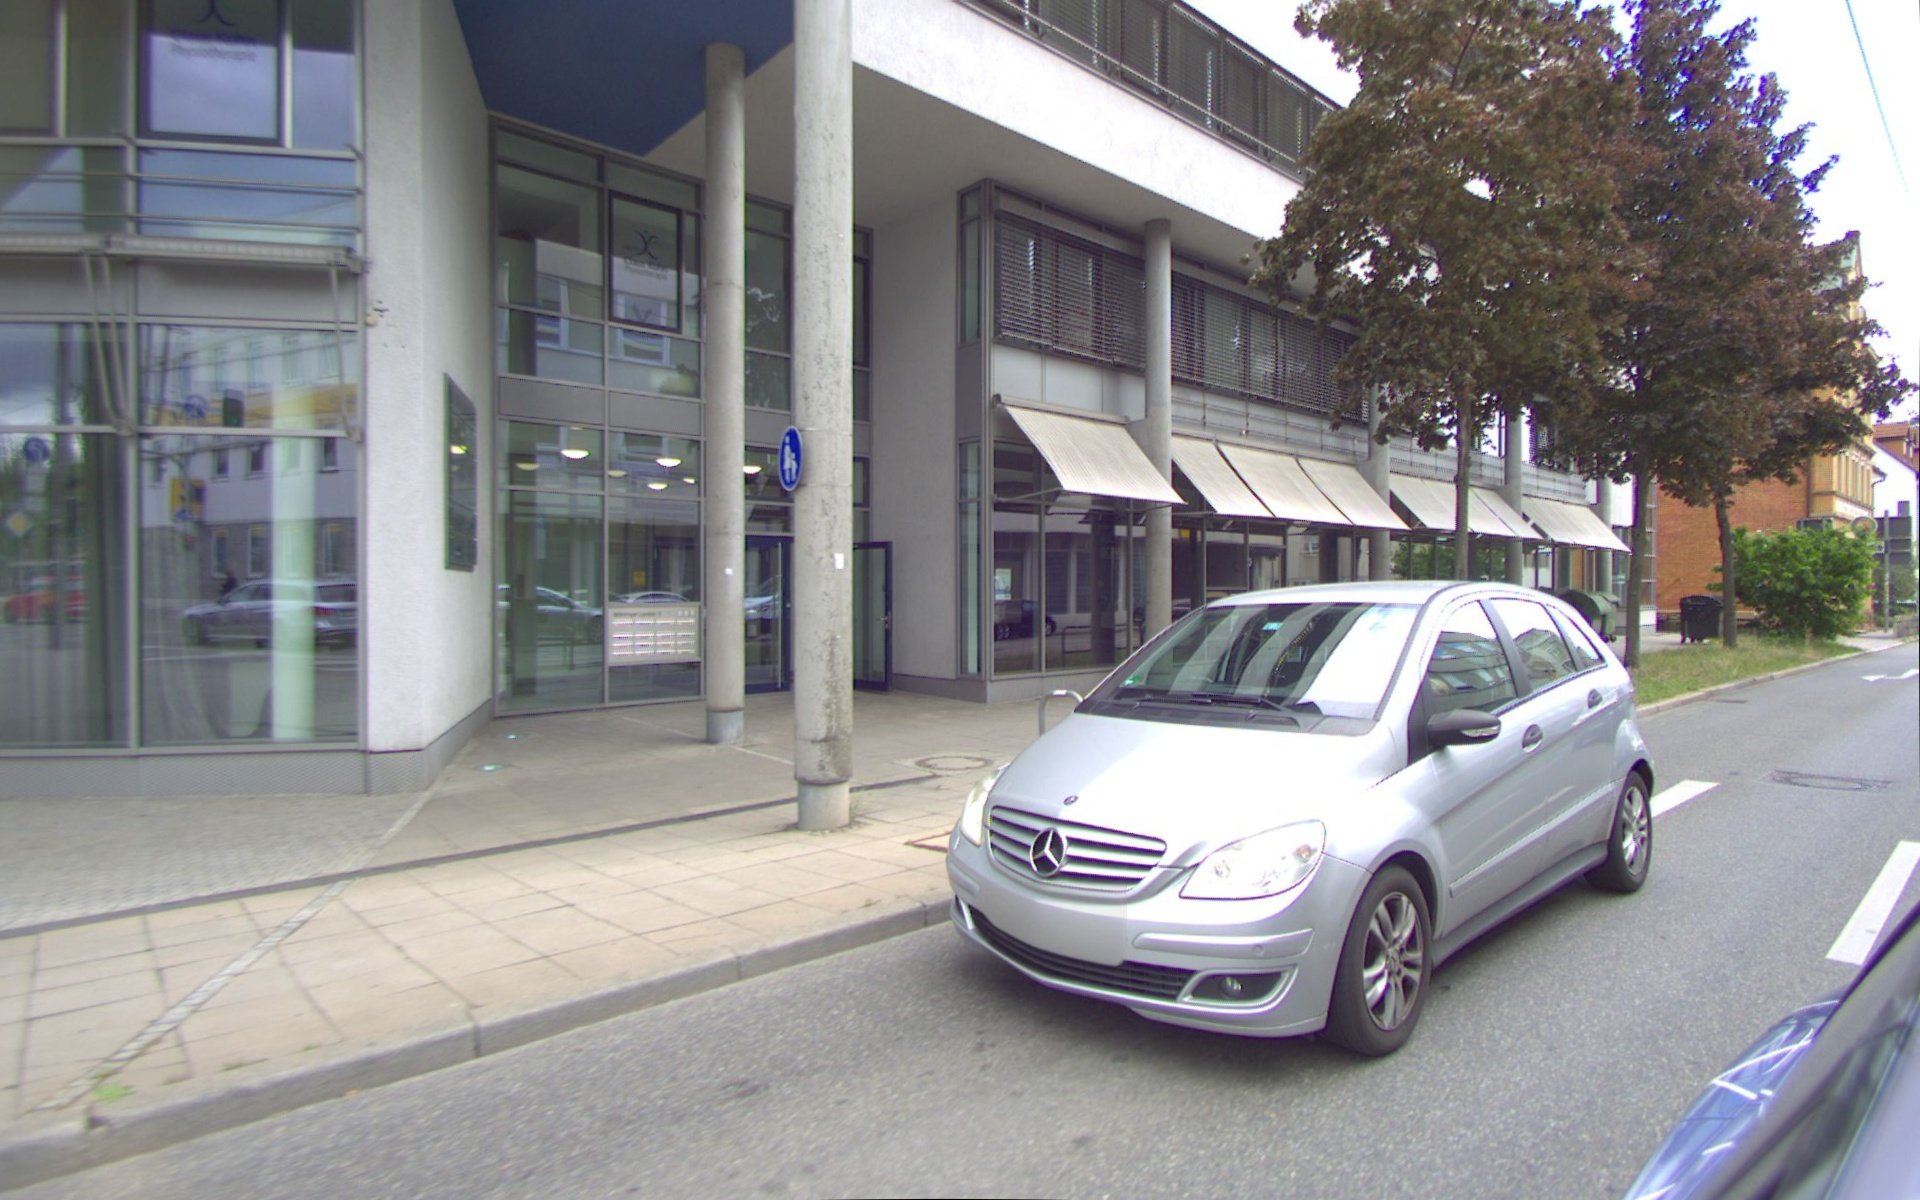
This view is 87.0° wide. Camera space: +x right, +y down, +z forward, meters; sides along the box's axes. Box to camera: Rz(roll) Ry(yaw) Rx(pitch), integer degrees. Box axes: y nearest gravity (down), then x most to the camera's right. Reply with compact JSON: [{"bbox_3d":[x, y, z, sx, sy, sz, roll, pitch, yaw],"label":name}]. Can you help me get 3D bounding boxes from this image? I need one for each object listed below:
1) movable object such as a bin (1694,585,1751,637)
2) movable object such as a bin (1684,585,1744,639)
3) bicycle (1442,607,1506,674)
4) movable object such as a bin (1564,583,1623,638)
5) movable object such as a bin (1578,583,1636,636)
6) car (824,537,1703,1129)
[{"bbox_3d":[22.482,0.303,29.836,1.310,1.484,1.099,0,2,-43],"label":"movable object such as a bin"},{"bbox_3d":[21.520,0.318,28.889,1.389,1.484,1.129,0,2,-43],"label":"movable object such as a bin"},{"bbox_3d":[9.114,0.684,17.903,1.994,1.100,0.361,-1,0,-44],"label":"bicycle"},{"bbox_3d":[17.920,0.277,28.622,1.310,1.484,1.099,0,2,-43],"label":"movable object such as a bin"},{"bbox_3d":[18.885,0.258,29.550,1.310,1.484,1.123,0,2,-43],"label":"movable object such as a bin"},{"bbox_3d":[1.784,0.625,4.935,4.491,1.566,1.996,-1,-1,-41],"label":"car"}]
